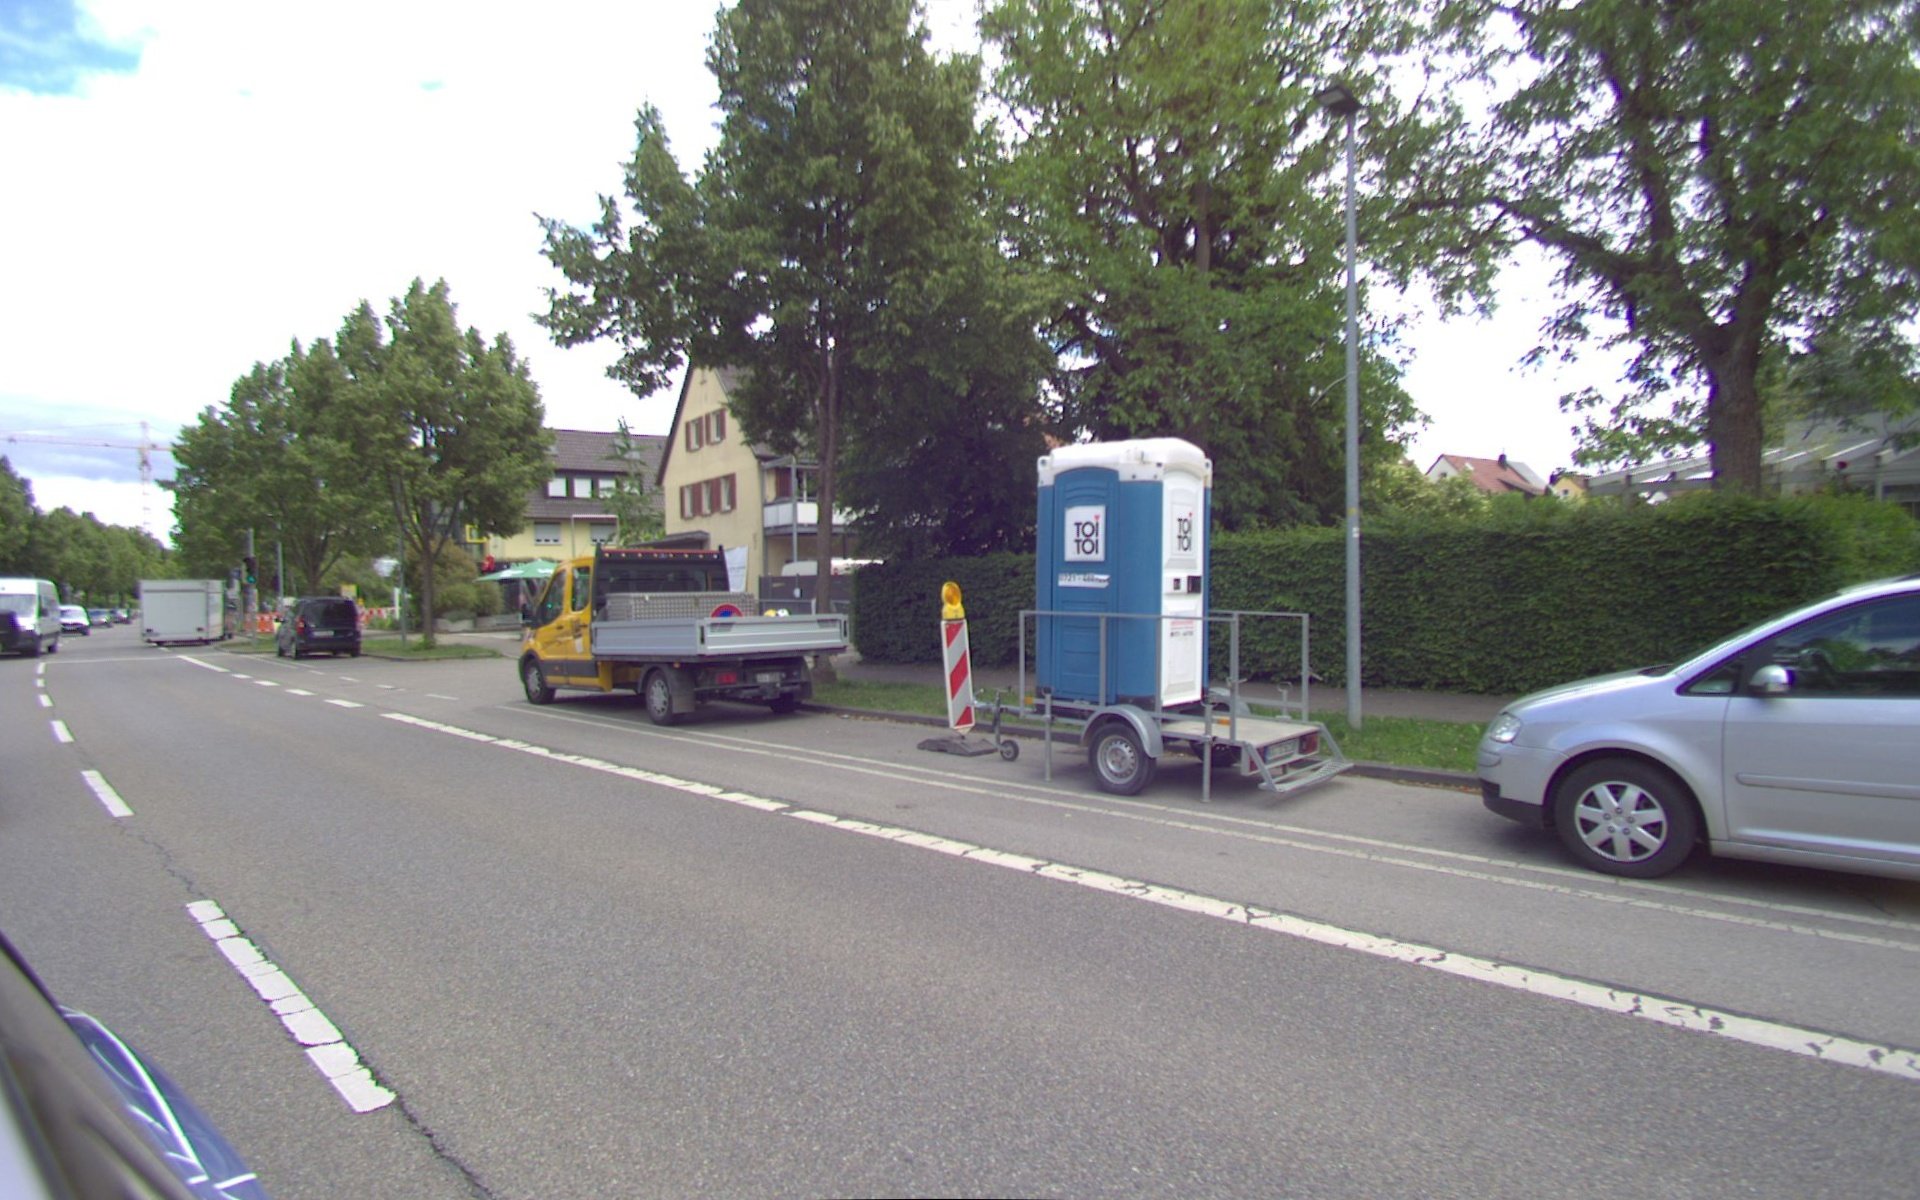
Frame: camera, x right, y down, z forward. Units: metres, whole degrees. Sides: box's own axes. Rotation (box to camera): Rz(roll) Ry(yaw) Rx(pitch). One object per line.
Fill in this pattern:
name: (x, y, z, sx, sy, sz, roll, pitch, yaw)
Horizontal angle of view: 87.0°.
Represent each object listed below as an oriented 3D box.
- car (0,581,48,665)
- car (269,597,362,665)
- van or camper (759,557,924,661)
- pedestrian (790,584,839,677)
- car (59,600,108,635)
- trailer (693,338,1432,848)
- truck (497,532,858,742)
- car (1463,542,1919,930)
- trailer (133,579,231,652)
car: (-31.311, 0.743, 33.123, 1.969, 2.619, 4.006, -2, 0, -40)
car: (-19.636, 0.890, 30.742, 1.686, 1.888, 4.404, -1, 0, -42)
van or camper: (-3.808, 0.258, 31.352, 2.561, 2.905, 5.952, -1, 0, -35)
pedestrian: (-2.827, 0.583, 19.652, 0.633, 1.755, 0.723, -1, 0, -42)
car: (-52.460, 1.015, 60.609, 1.968, 2.029, 4.008, 0, -1, -38)
trailer: (0.274, -0.009, 9.326, 2.343, 2.985, 7.019, 0, -1, -42)
truck: (-4.283, 0.442, 14.275, 2.267, 2.304, 6.471, 0, -1, -42)
car: (4.935, 0.578, 4.847, 4.227, 1.696, 1.670, 0, 1, 44)
trailer: (-33.533, 0.655, 43.850, 2.598, 2.900, 6.891, -1, 0, -31)
